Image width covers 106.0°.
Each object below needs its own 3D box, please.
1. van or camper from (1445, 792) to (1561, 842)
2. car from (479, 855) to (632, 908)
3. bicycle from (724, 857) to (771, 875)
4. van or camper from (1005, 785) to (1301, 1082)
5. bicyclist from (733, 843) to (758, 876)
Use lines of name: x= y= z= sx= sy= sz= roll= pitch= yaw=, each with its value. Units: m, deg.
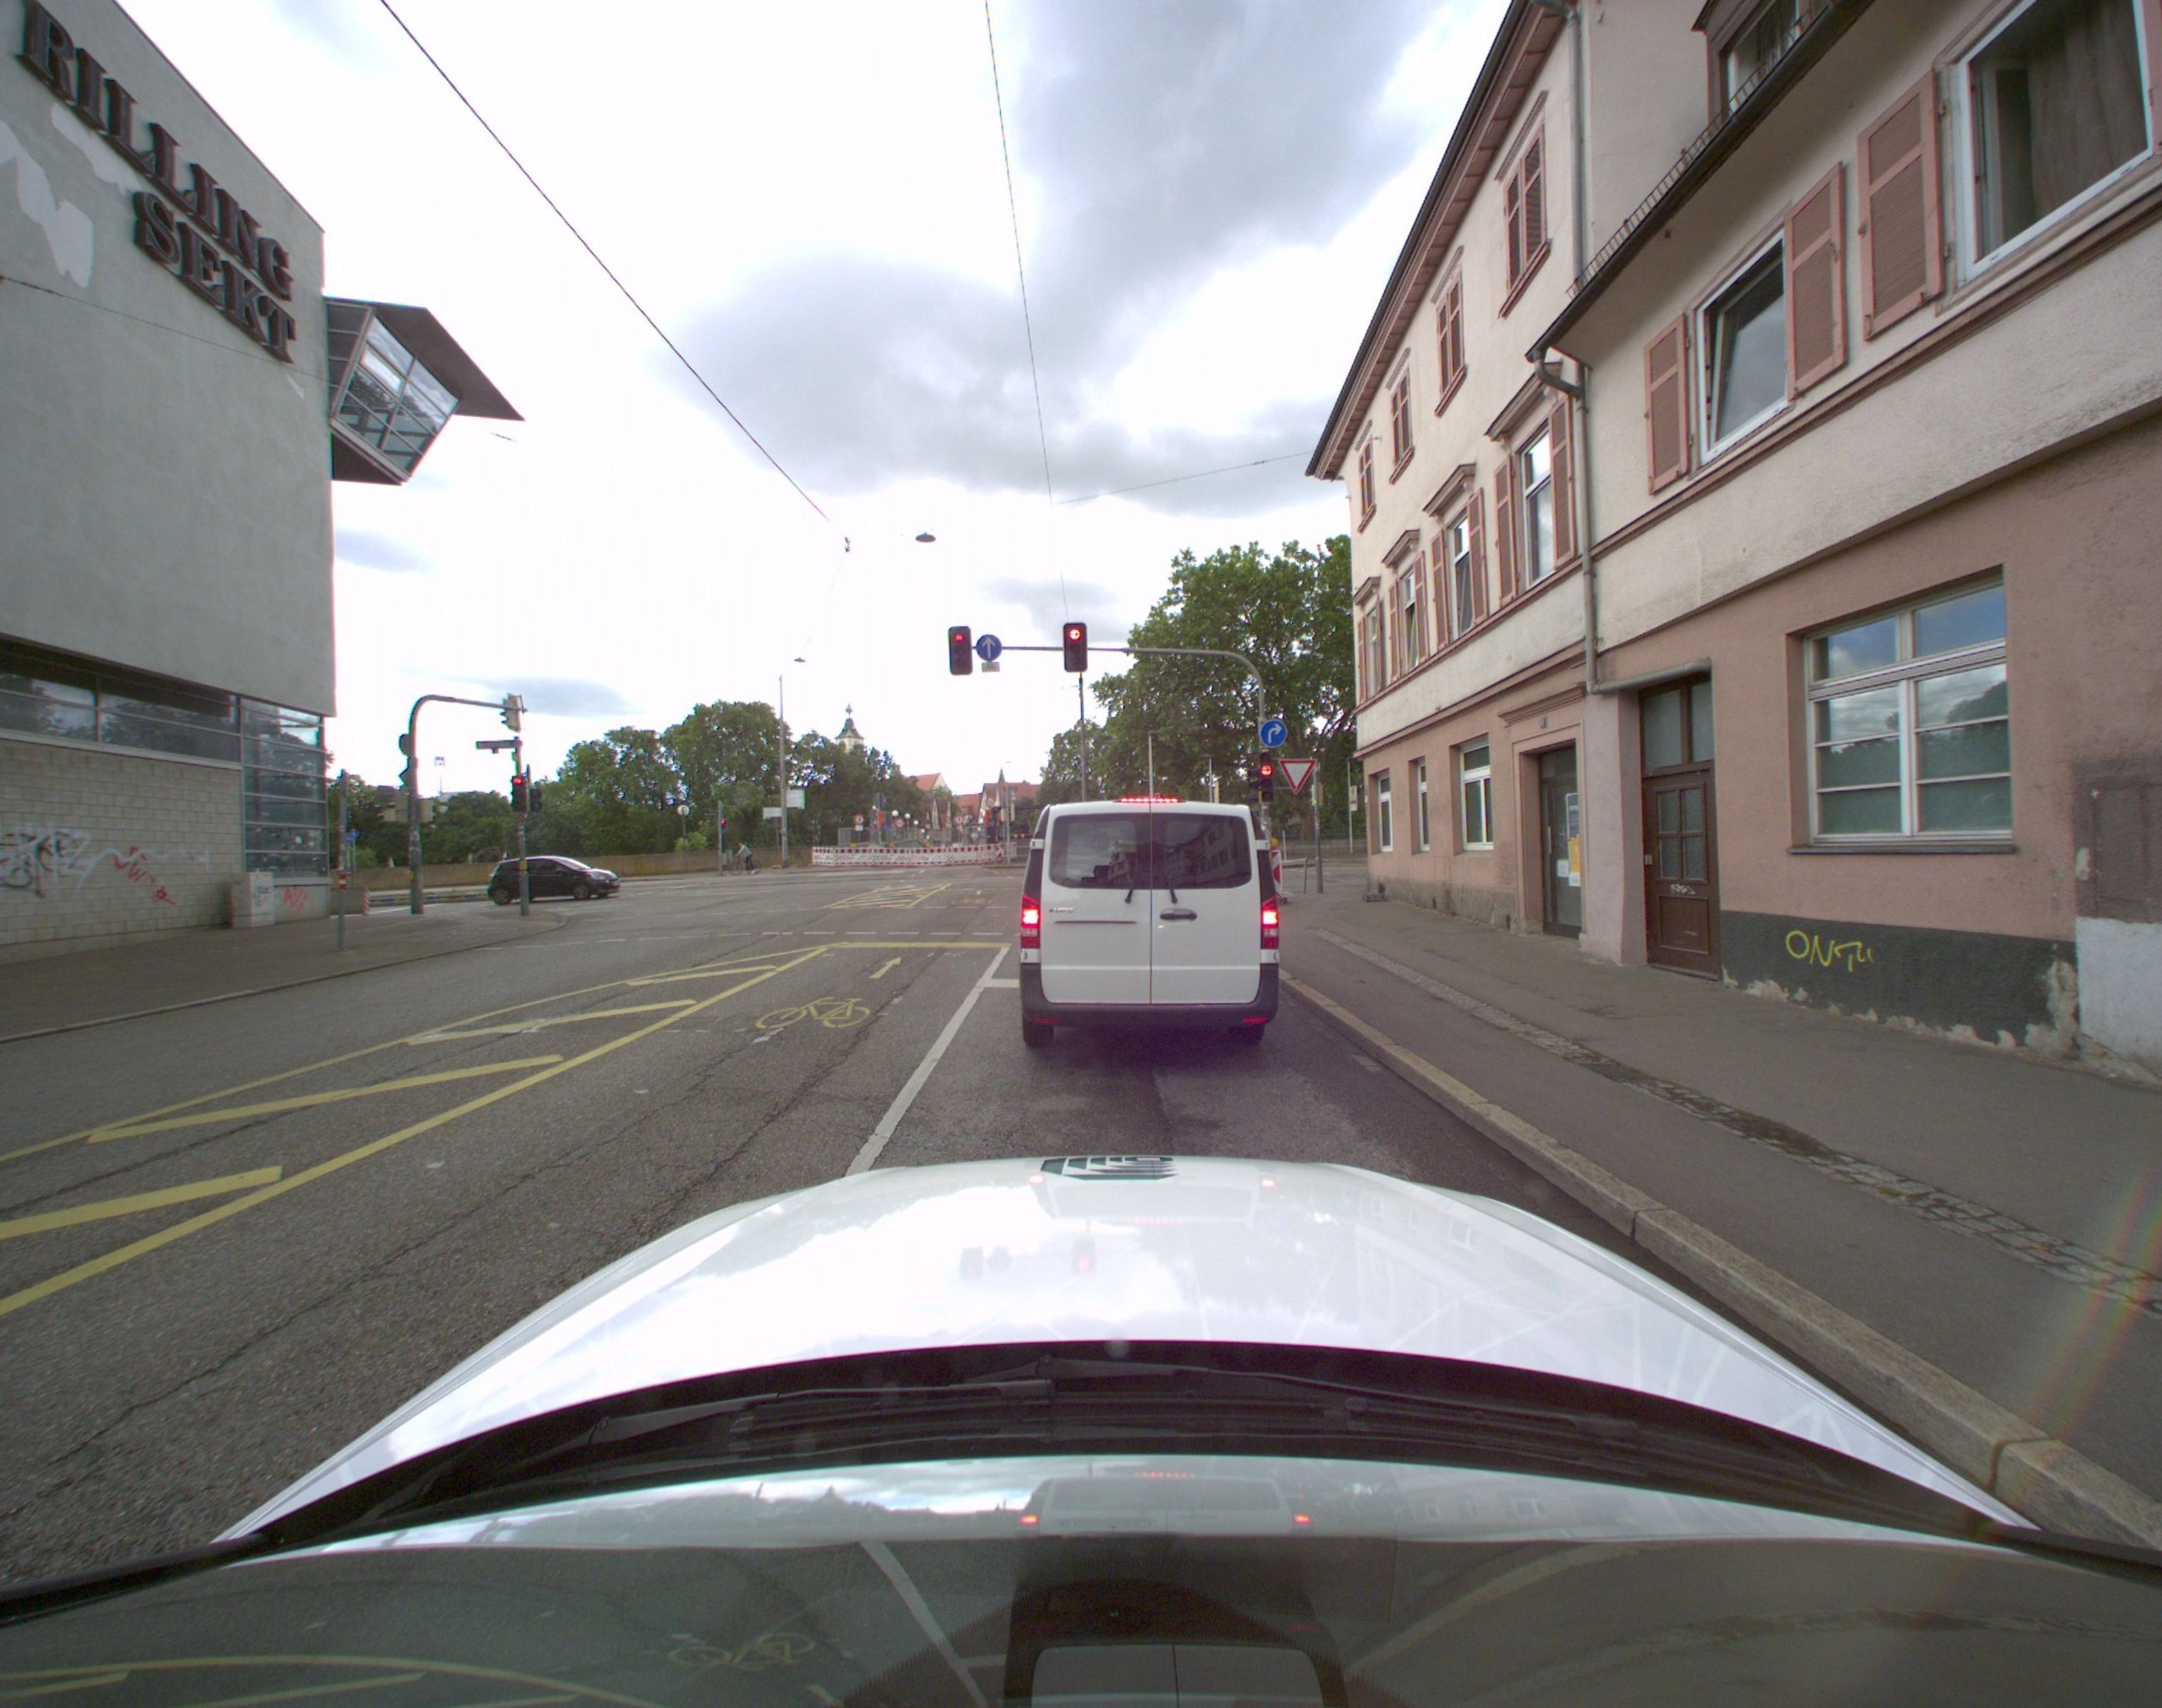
van or camper: x=23.645 y=-2.060 z=45.830 sx=5.369 sy=2.514 sz=2.038 roll=-2 pitch=-2 yaw=3
car: x=-17.308 y=0.872 z=26.987 sx=3.743 sy=1.428 sz=1.823 roll=-3 pitch=2 yaw=-9
bicycle: x=-17.847 y=0.631 z=43.612 sx=2.150 sy=0.892 sz=0.751 roll=-3 pitch=2 yaw=-42
van or camper: x=0.438 y=0.448 z=7.542 sx=1.932 sy=1.924 sz=4.439 roll=0 pitch=2 yaw=-1
bicyclist: x=-17.942 y=0.270 z=43.522 sx=1.010 sy=1.743 sz=0.746 roll=-2 pitch=1 yaw=-40
